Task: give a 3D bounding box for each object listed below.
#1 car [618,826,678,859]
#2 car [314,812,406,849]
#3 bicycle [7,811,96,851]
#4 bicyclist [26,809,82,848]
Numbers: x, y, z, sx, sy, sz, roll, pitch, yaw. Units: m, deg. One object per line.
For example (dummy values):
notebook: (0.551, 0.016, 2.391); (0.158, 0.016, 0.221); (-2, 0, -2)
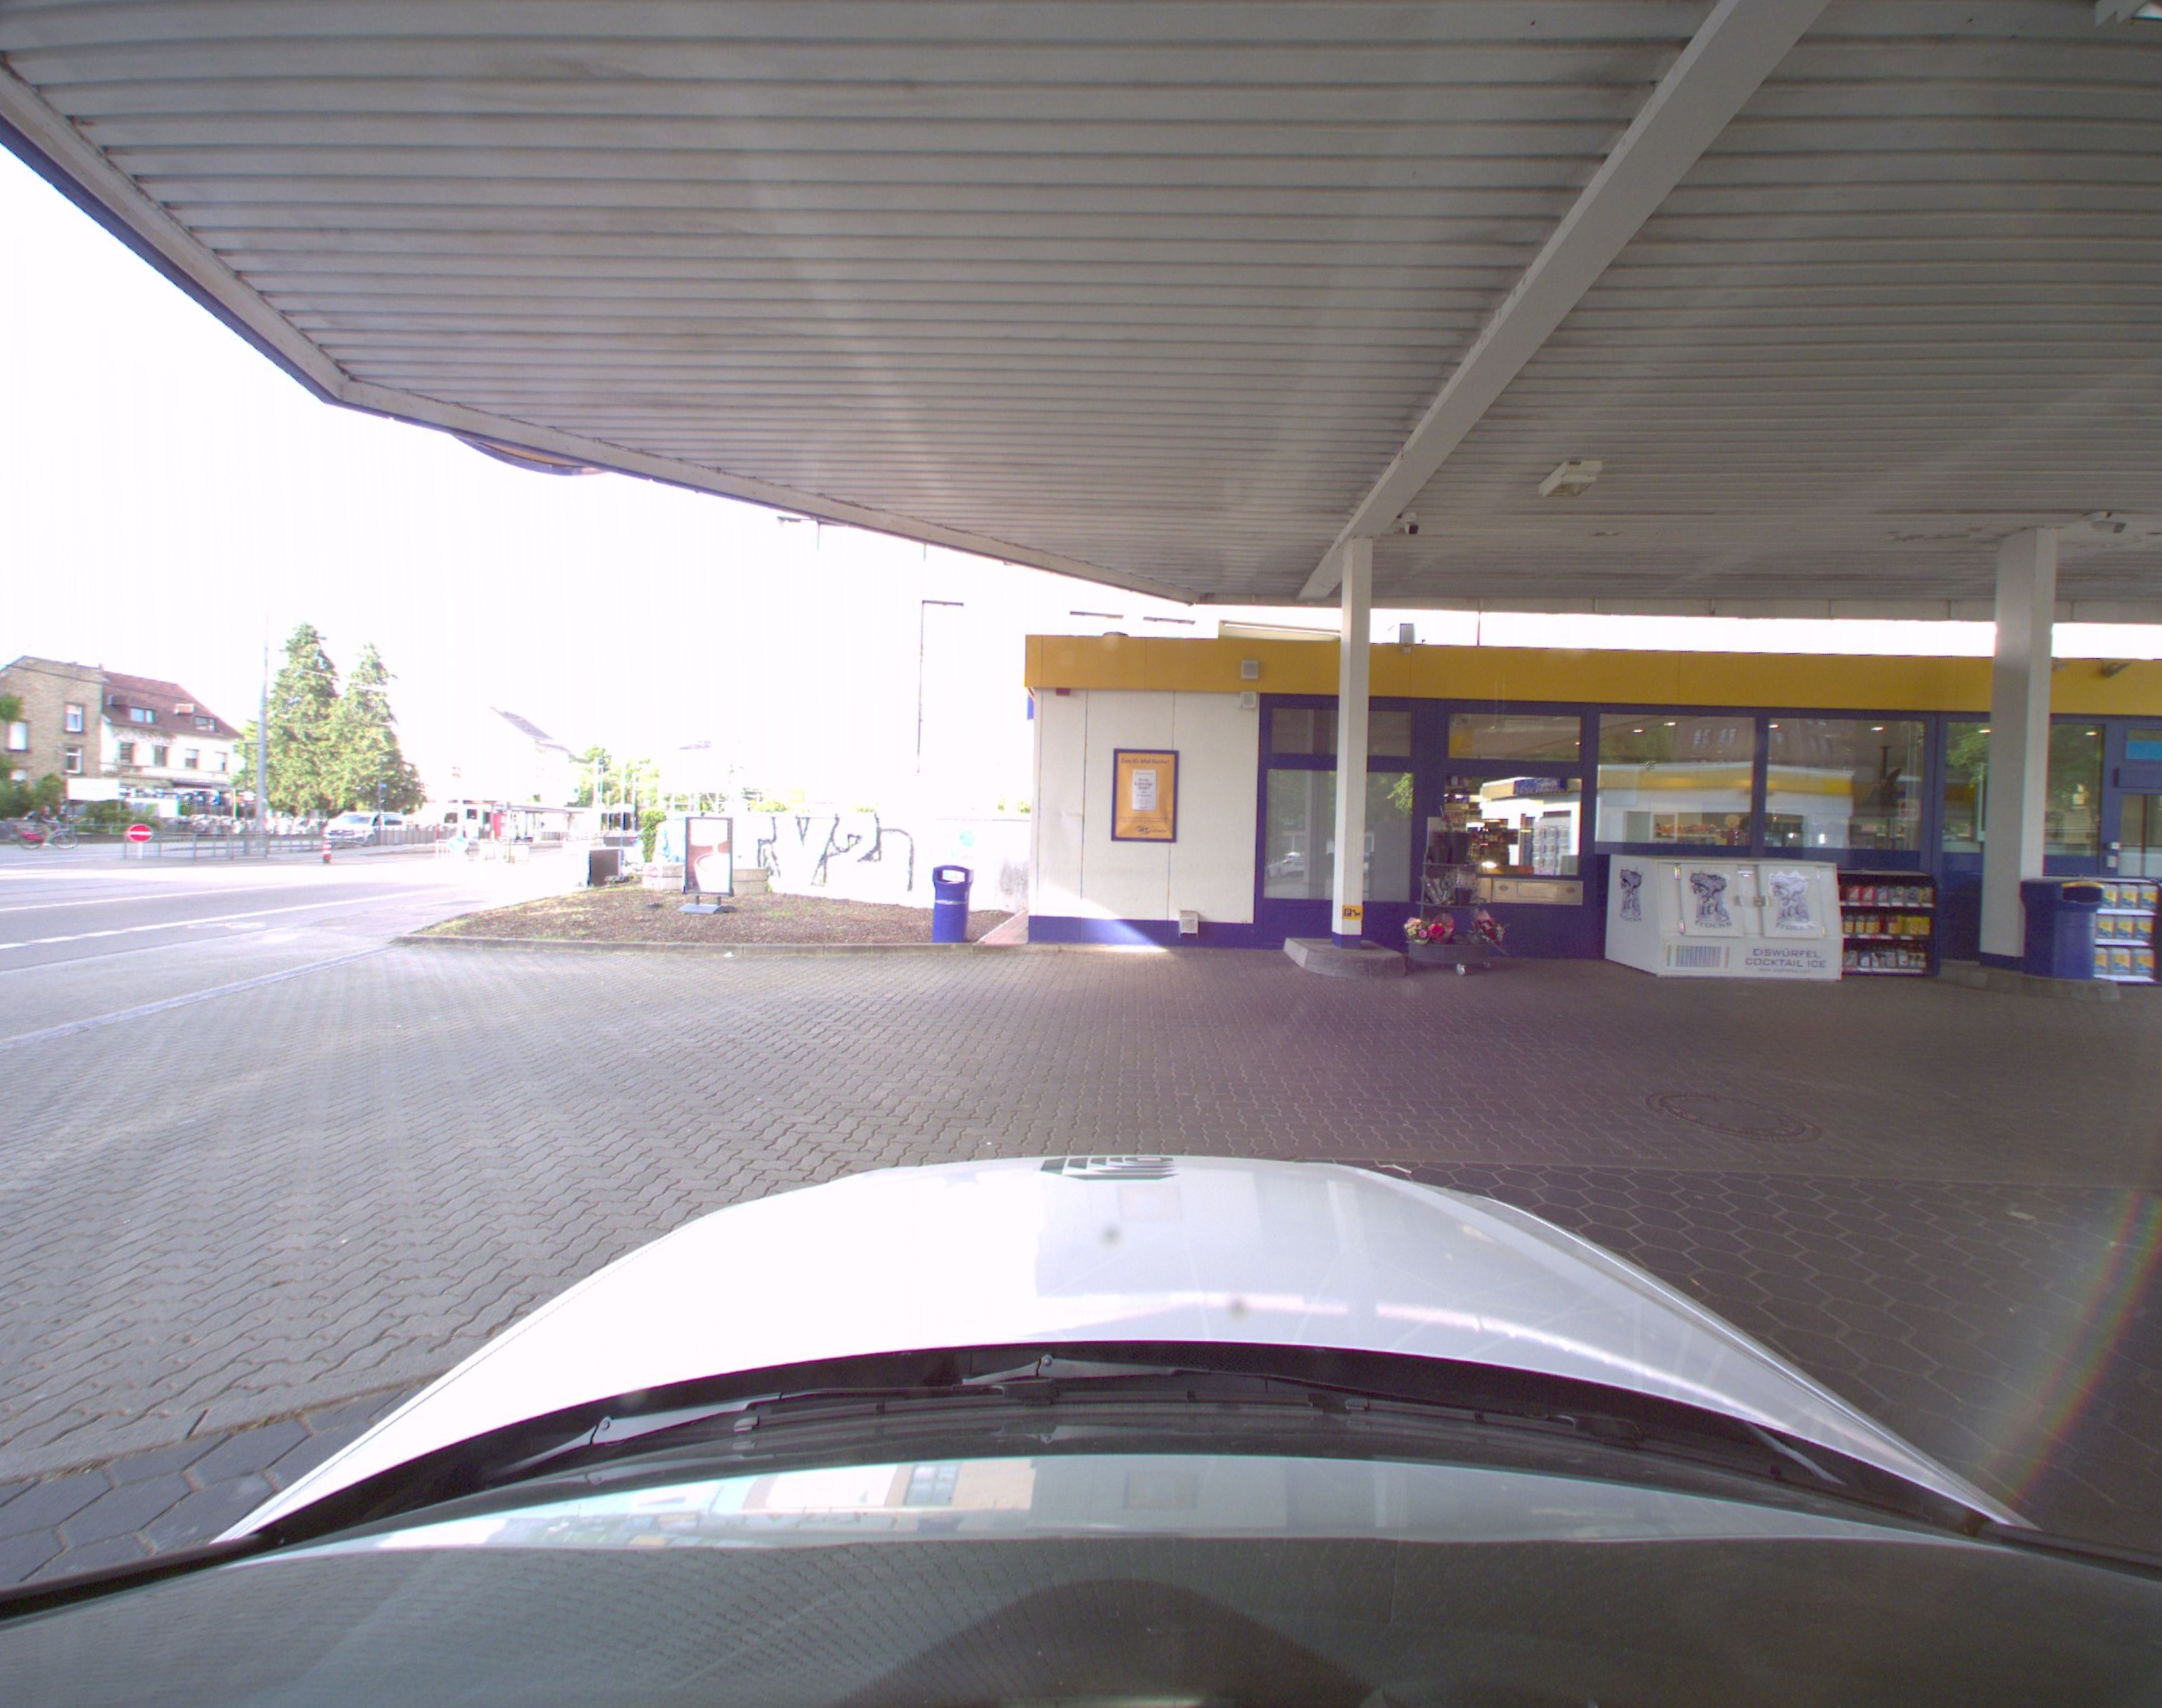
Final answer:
car: (-23.810, -0.644, 44.922); (1.767, 1.657, 4.827); (2, 0, -15)
car: (-40.558, -1.319, 45.947); (1.998, 1.968, 4.862); (1, 2, -17)
bicycle: (-41.240, -0.890, 32.651); (0.781, 1.492, 1.998); (4, 0, 12)
bicyclist: (-41.223, -1.023, 32.701); (0.781, 1.492, 1.099); (4, 0, 11)
